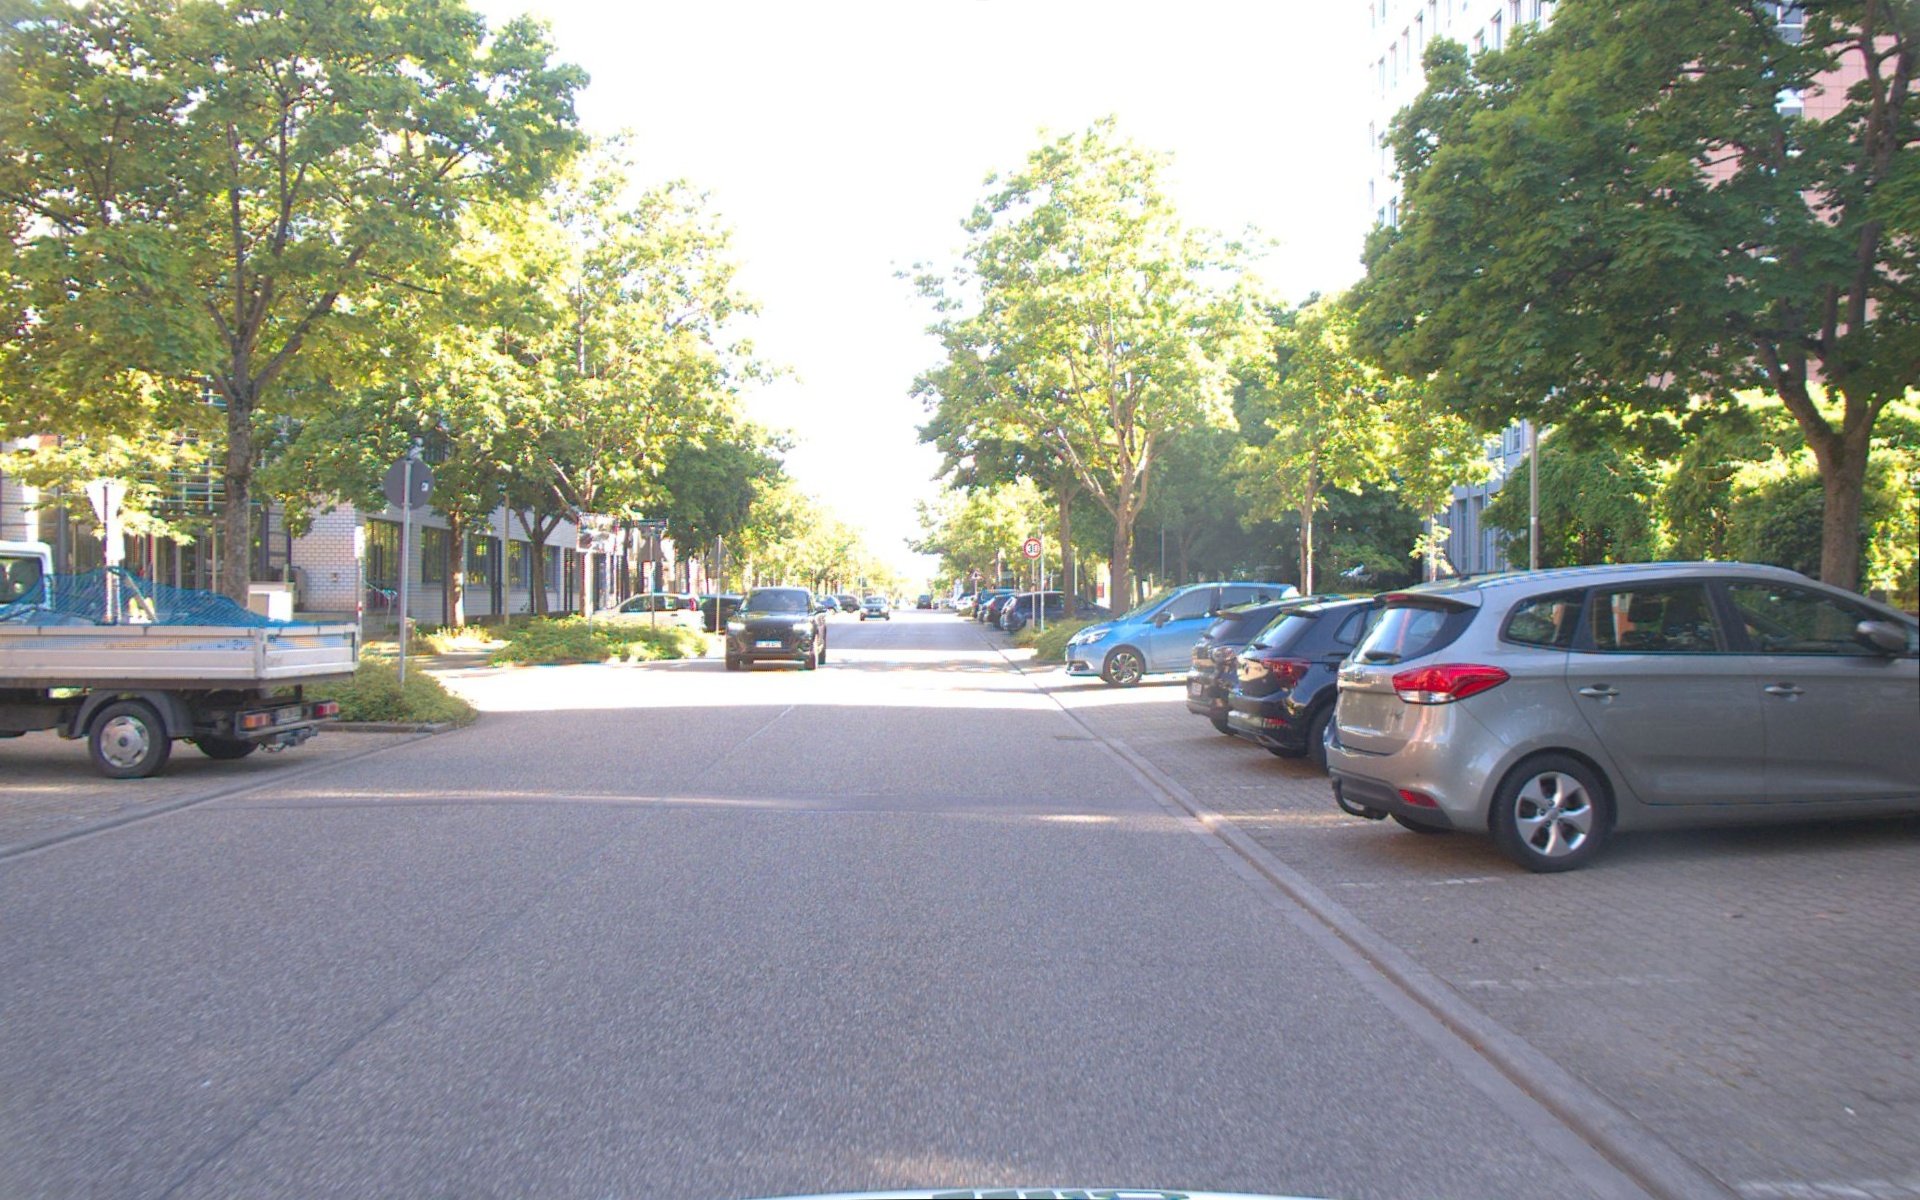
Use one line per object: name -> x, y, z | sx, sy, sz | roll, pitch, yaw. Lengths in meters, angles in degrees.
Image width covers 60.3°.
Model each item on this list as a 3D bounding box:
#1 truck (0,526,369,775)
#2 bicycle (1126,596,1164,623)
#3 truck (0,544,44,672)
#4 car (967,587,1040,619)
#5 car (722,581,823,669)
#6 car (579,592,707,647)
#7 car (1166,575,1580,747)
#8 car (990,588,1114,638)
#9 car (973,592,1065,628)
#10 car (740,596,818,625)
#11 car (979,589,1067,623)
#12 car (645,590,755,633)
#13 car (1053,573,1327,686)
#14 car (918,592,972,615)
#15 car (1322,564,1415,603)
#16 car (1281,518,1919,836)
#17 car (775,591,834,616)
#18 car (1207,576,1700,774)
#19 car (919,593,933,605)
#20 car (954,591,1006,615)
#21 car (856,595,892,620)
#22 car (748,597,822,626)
truck -> -8.019, 0.417, 14.481 | 4.882, 1.993, 2.138 | 0, 0, 0
bicycle -> 7.602, 0.376, 67.958 | 0.377, 1.097, 1.759 | 0, 0, -42
truck -> -23.545, 0.194, 35.767 | 5.982, 2.752, 2.576 | 0, 0, -3
car -> 2.348, 0.160, 89.401 | 3.815, 1.685, 1.857 | 0, 0, -3
car -> -3.877, 0.480, 34.781 | 1.854, 1.713, 4.350 | 0, 0, -3
car -> -9.325, 0.588, 48.911 | 3.509, 1.577, 1.636 | 0, -3, -4
car -> 4.171, 0.581, 17.123 | 3.769, 1.509, 1.824 | -3, 1, -2
car -> 3.215, 0.435, 58.313 | 4.183, 1.662, 1.857 | -1, 0, -4
car -> 2.663, 0.436, 74.721 | 3.968, 1.619, 1.547 | 0, 0, -9
car -> -9.265, 0.536, 84.823 | 3.814, 1.489, 1.857 | 0, 0, -2
car -> 2.952, 0.280, 77.735 | 3.964, 1.517, 1.548 | -2, 0, -5
car -> -9.187, 0.411, 58.569 | 3.657, 1.489, 1.676 | 0, 0, -2
car -> 3.851, 0.476, 28.226 | 4.317, 1.646, 1.911 | -3, 0, -2
car -> -1.123, 0.268, 122.991 | 3.910, 1.653, 1.997 | 0, 0, -6
car -> 20.263, -0.801, 82.114 | 3.993, 1.814, 1.998 | 2, 0, -5
car -> 4.258, 0.378, 9.725 | 4.270, 1.625, 1.936 | 0, 0, -8
car -> -10.797, 0.251, 115.132 | 3.904, 1.683, 1.860 | -1, 0, 1
car -> 4.216, 0.597, 14.435 | 3.728, 1.433, 1.700 | -3, 1, -7
car -> -4.478, -0.135, 216.975 | 1.894, 1.625, 4.365 | 0, 0, -2
car -> 1.572, 0.240, 129.638 | 3.910, 1.823, 1.997 | 0, 0, -6
car -> -5.121, 0.447, 99.212 | 1.775, 1.440, 4.109 | 0, 0, 2
car -> -9.278, 0.613, 88.023 | 3.814, 1.489, 1.857 | 0, 0, -2
